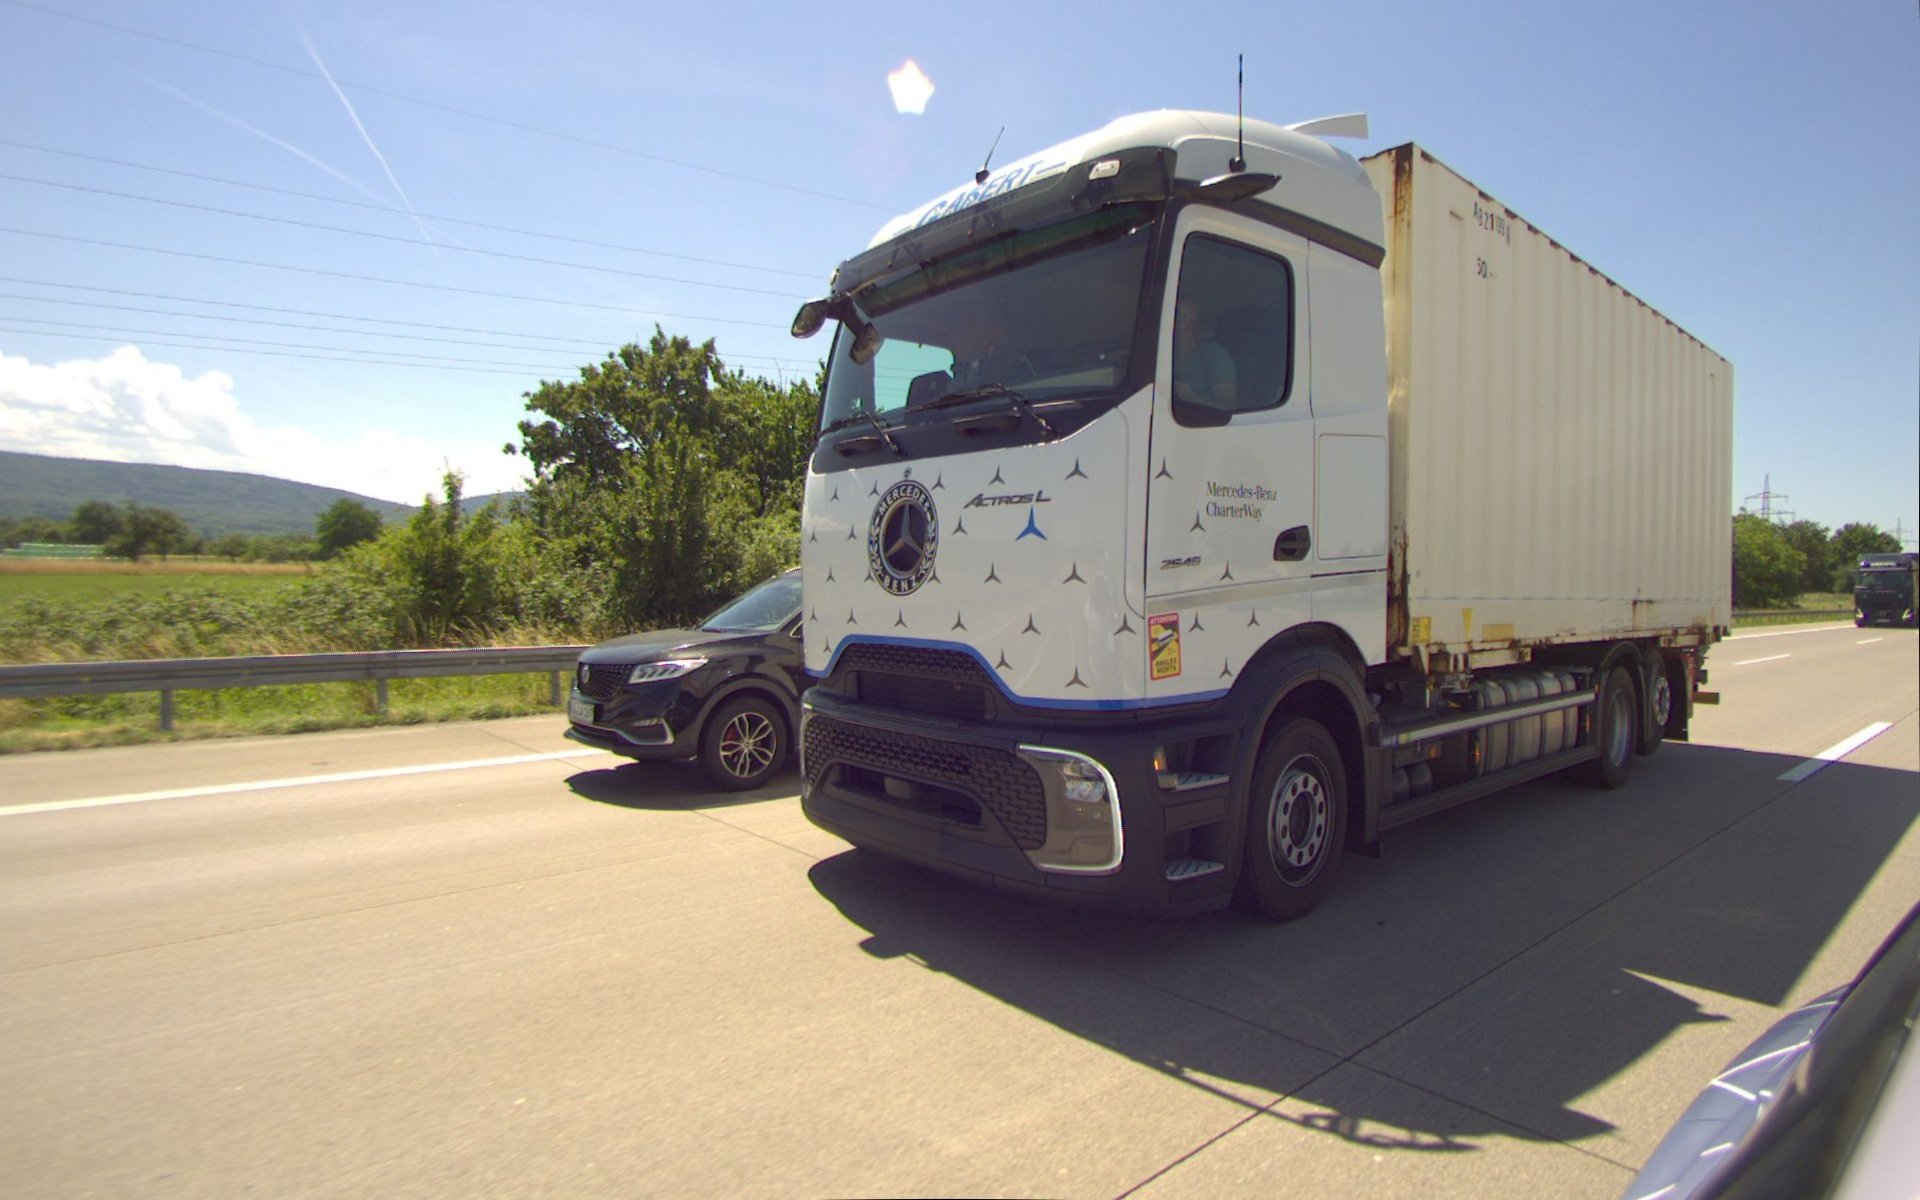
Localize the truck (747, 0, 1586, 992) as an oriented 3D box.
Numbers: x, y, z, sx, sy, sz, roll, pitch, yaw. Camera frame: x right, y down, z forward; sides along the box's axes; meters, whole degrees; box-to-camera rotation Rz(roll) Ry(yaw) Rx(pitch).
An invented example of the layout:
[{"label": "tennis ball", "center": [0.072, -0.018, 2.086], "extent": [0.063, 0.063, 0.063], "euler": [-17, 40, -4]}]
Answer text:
[{"label": "truck", "center": [1.521, -0.624, 6.124], "extent": [4.898, 3.927, 2.584], "euler": [0, 0, -42]}]

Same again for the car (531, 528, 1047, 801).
[{"label": "car", "center": [-1.357, 0.414, 8.709], "extent": [3.928, 1.805, 1.998], "euler": [0, 0, -39]}]

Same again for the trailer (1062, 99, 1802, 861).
[{"label": "trailer", "center": [5.362, -0.650, 9.597], "extent": [10.194, 3.927, 2.584], "euler": [0, 0, -42]}]

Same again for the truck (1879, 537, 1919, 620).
[{"label": "truck", "center": [50.491, -1.104, 53.636], "extent": [5.606, 4.246, 1.997], "euler": [0, 0, -41]}]

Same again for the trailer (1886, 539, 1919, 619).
[{"label": "trailer", "center": [55.693, -1.137, 58.185], "extent": [14.488, 4.246, 1.997], "euler": [0, 0, -41]}]
